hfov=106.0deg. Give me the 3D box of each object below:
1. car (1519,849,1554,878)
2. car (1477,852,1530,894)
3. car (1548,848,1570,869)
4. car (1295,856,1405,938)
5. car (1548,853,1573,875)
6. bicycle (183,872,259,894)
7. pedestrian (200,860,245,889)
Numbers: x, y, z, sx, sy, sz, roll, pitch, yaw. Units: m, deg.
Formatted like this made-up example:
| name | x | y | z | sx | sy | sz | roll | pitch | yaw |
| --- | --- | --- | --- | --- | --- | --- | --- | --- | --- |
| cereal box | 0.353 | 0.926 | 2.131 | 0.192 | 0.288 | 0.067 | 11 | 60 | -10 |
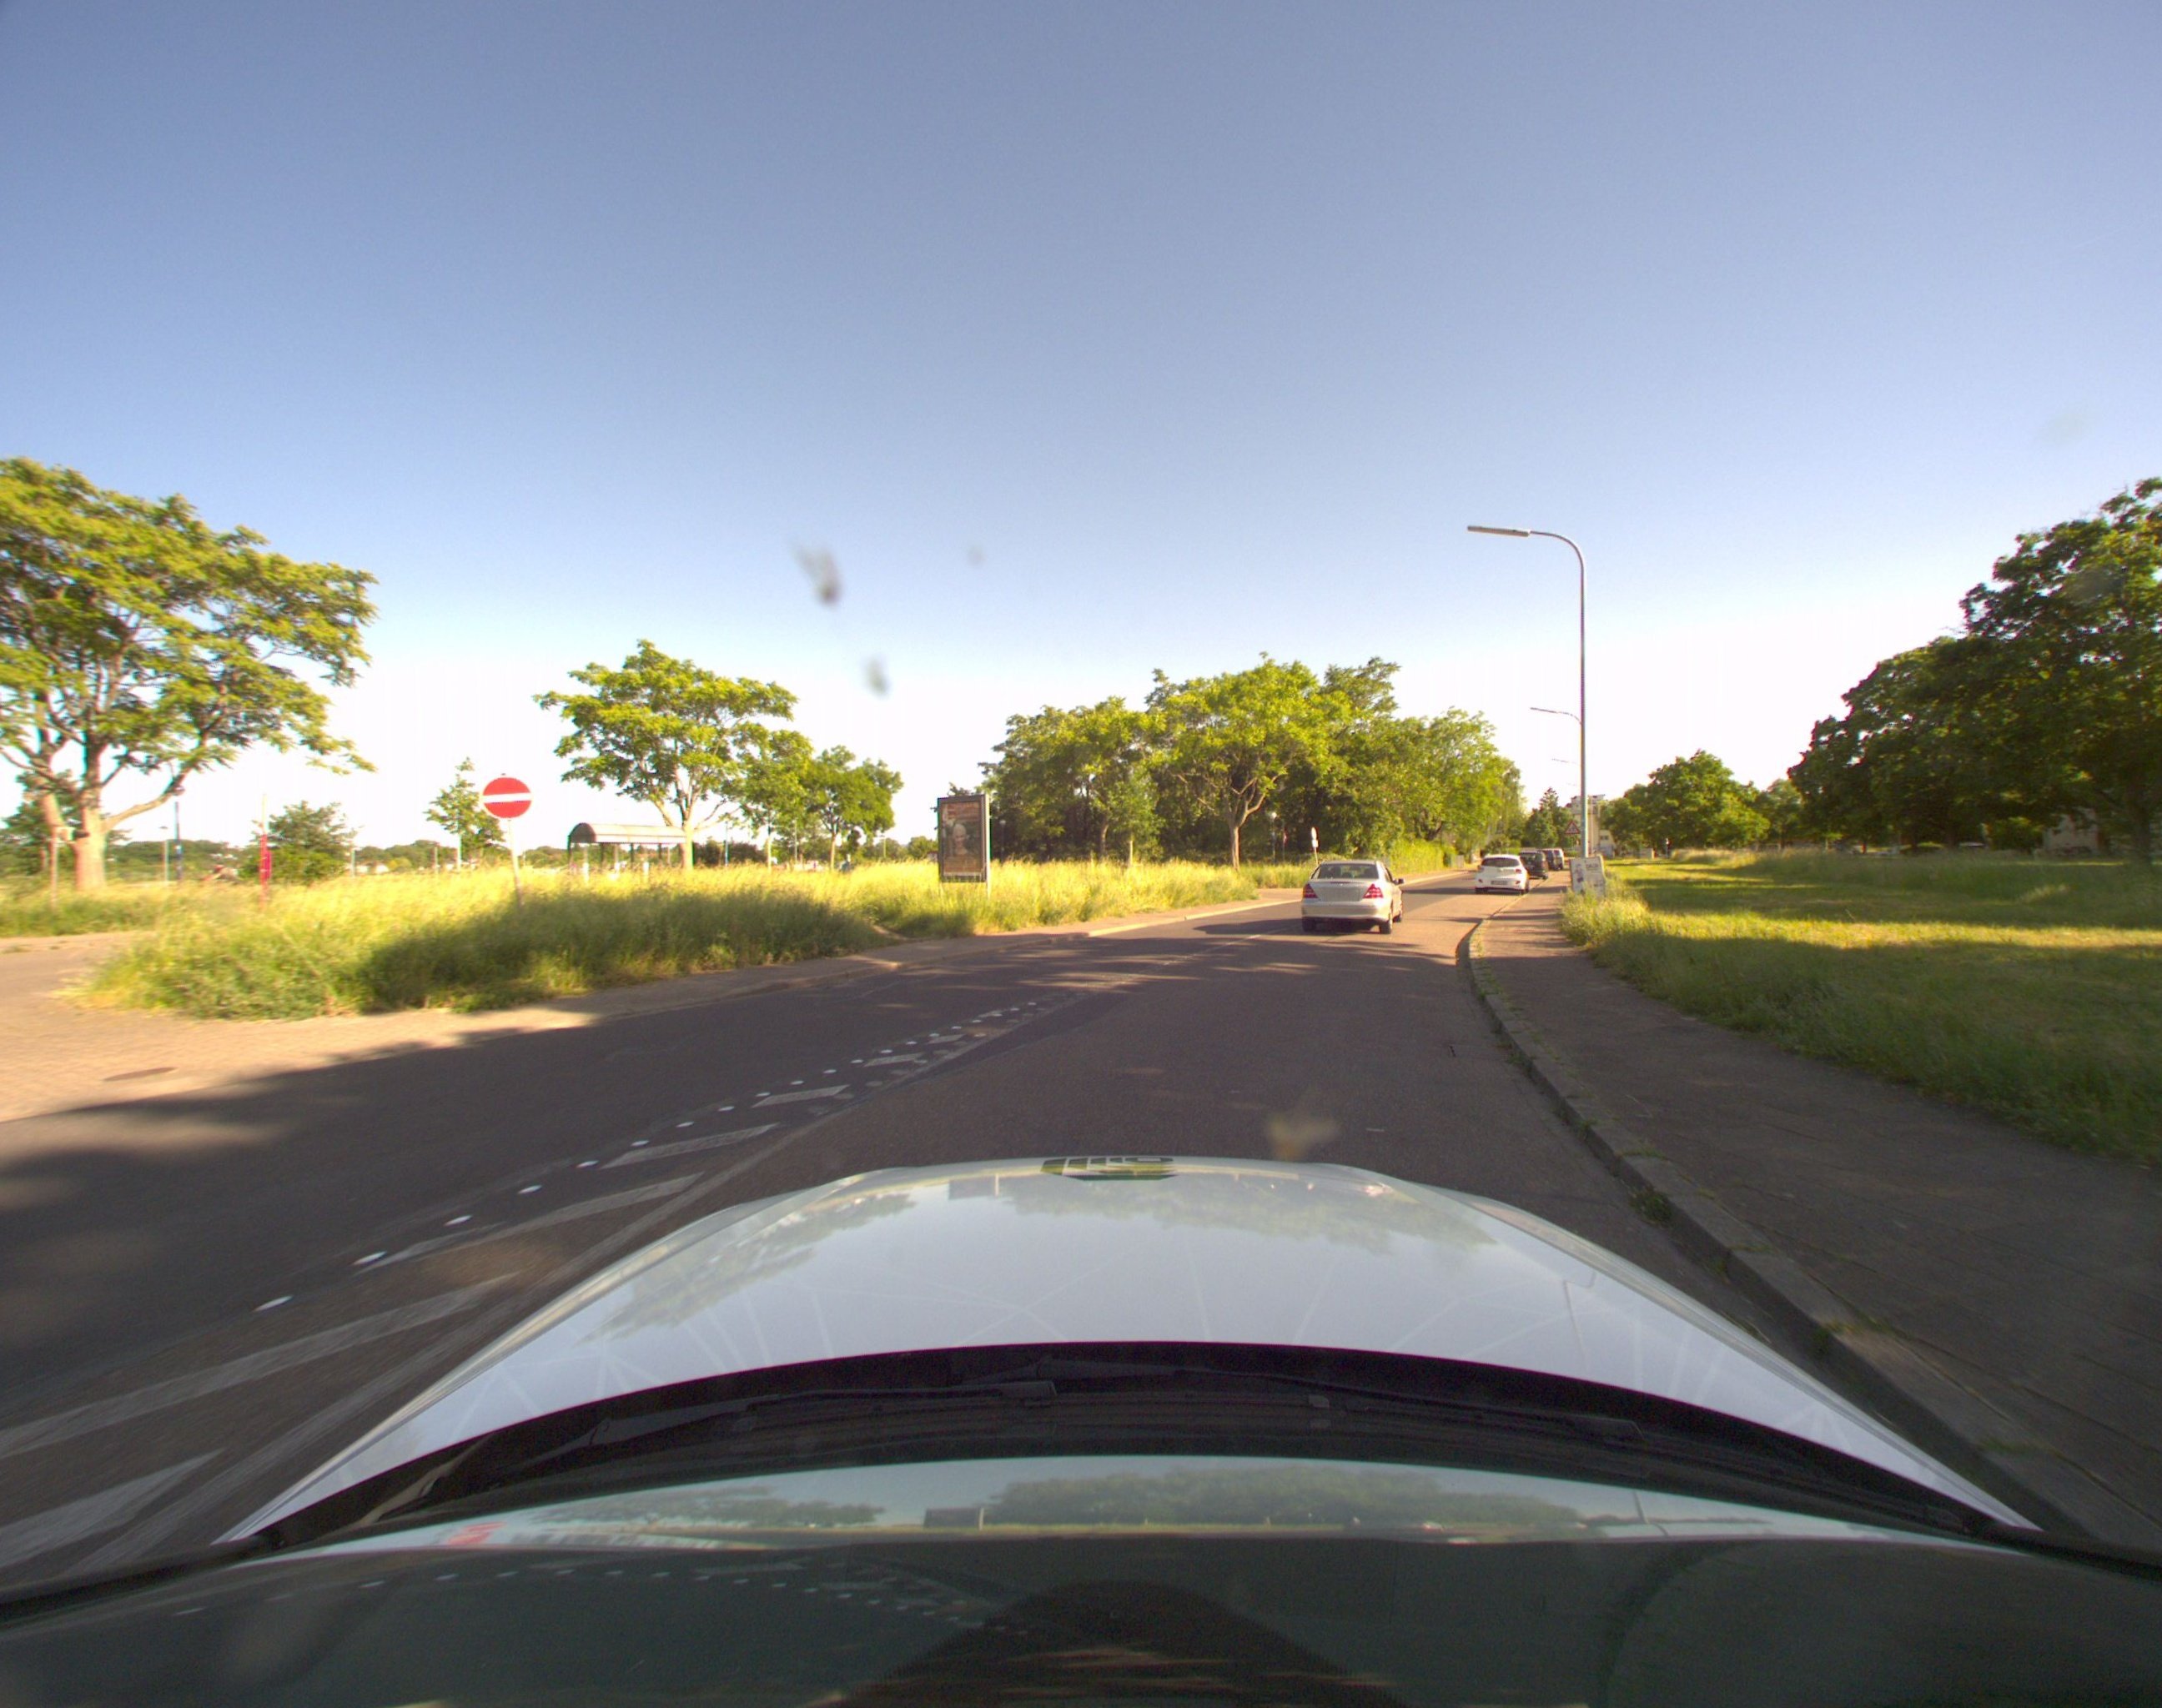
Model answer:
| name | x | y | z | sx | sy | sz | roll | pitch | yaw |
| --- | --- | --- | --- | --- | --- | --- | --- | --- | --- |
| car | 26.941 | 0.558 | 48.111 | 1.682 | 1.610 | 4.025 | -2 | -1 | 30 |
| car | 16.191 | 0.699 | 31.122 | 1.705 | 1.479 | 3.763 | 0 | 0 | 29 |
| car | 44.484 | 0.418 | 75.744 | 1.682 | 1.851 | 3.875 | 1 | 1 | 31 |
| car | 5.752 | 0.784 | 17.088 | 1.800 | 1.463 | 4.385 | 0 | 0 | 23 |
| car | 39.396 | 0.793 | 66.879 | 1.682 | 1.759 | 3.875 | 1 | 1 | 31 |
| bicycle | -28.374 | 0.940 | 26.886 | 0.646 | 0.704 | 1.585 | -1 | -1 | 23 |
| pedestrian | -28.374 | 0.672 | 26.917 | 0.695 | 0.940 | 0.804 | -1 | -1 | 23 |
